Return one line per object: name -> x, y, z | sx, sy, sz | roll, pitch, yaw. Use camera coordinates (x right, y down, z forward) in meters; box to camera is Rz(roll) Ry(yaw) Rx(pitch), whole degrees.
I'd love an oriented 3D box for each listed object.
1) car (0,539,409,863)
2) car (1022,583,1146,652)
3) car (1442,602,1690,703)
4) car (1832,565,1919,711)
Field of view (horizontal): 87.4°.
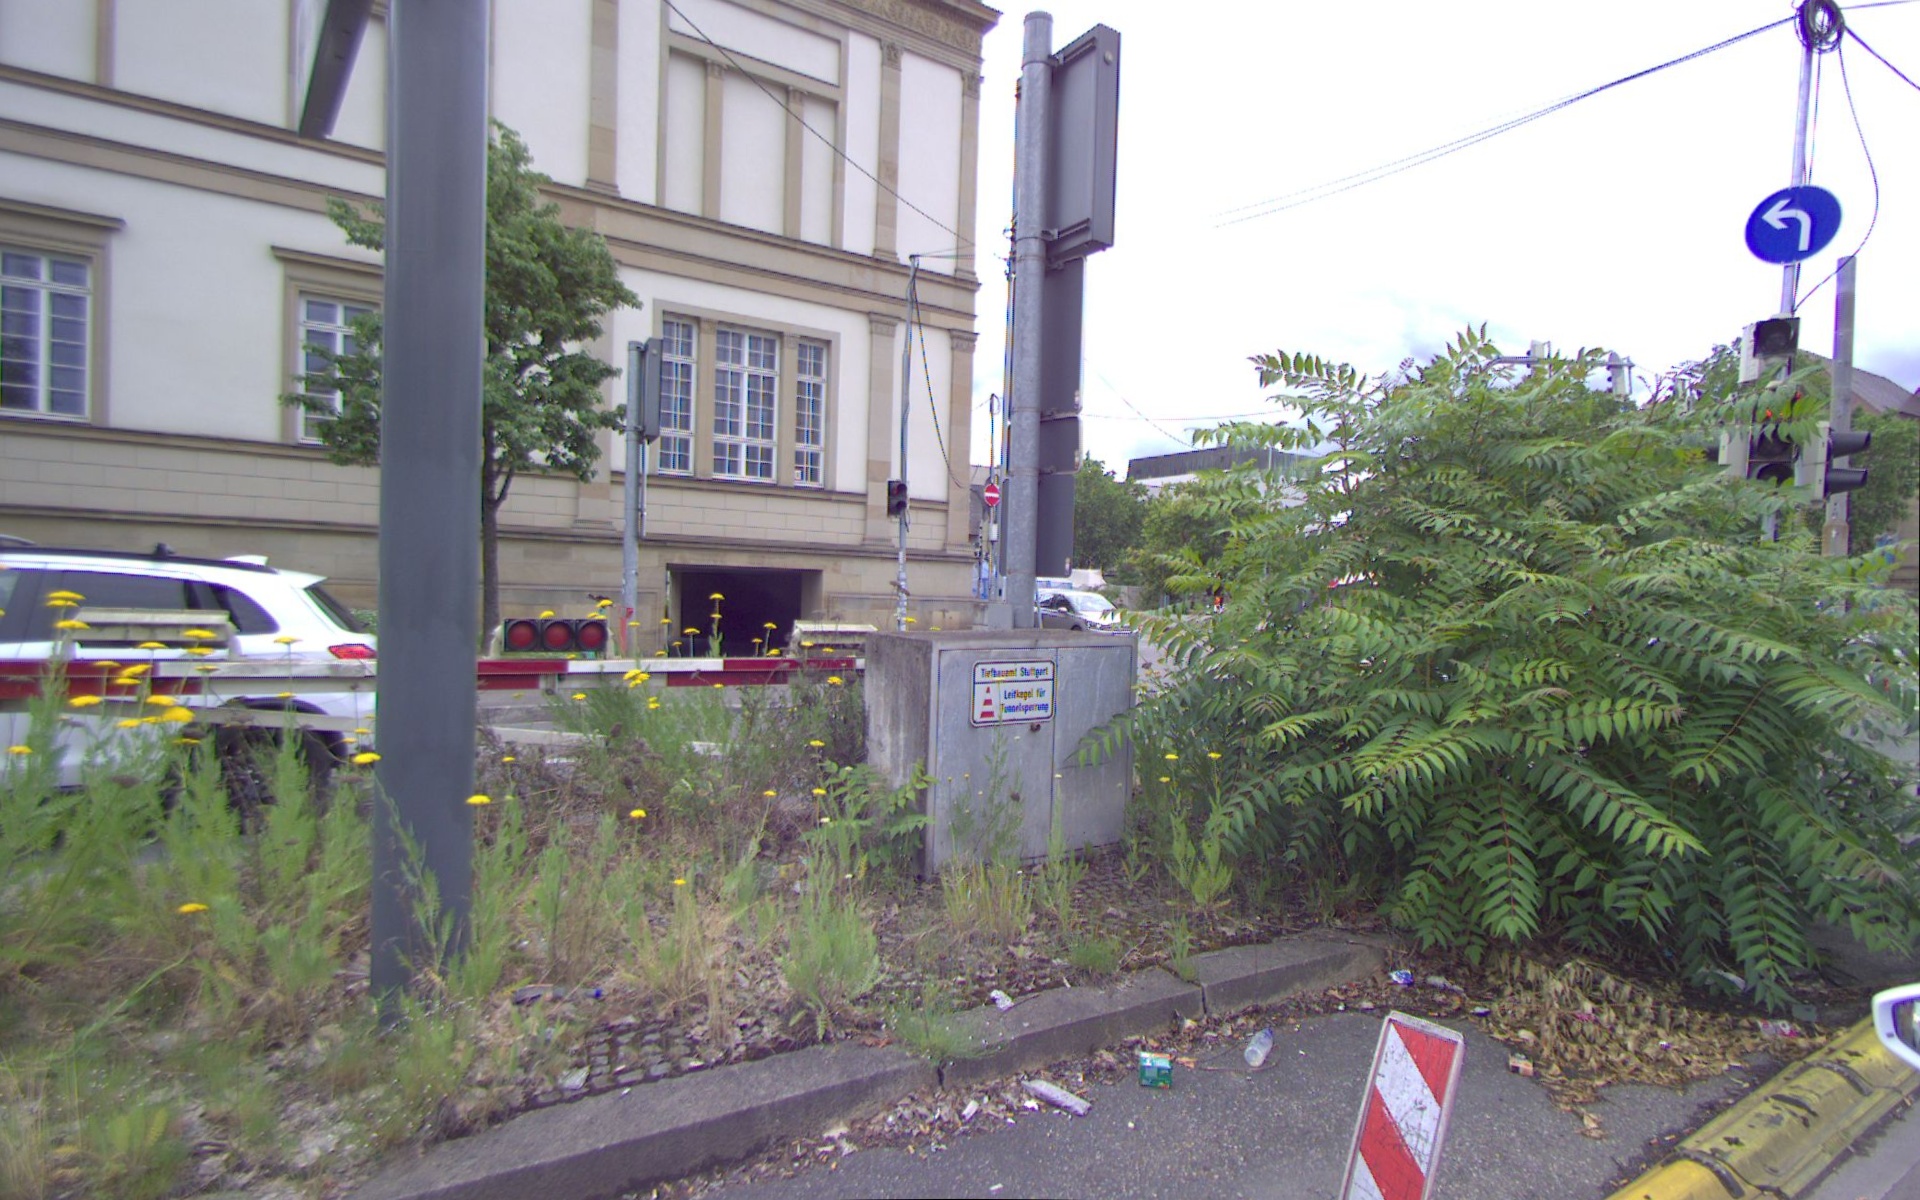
car -> -5.586, 0.501, 5.747 | 4.068, 1.647, 1.885 | 1, 0, -37
car -> 3.373, 0.419, 28.117 | 1.810, 1.769, 3.980 | 0, 1, -21
car -> 13.016, 1.056, 21.809 | 1.814, 1.907, 4.235 | 2, 0, -37
car -> 17.219, 0.660, 15.165 | 2.280, 2.336, 5.723 | 2, 0, -34
